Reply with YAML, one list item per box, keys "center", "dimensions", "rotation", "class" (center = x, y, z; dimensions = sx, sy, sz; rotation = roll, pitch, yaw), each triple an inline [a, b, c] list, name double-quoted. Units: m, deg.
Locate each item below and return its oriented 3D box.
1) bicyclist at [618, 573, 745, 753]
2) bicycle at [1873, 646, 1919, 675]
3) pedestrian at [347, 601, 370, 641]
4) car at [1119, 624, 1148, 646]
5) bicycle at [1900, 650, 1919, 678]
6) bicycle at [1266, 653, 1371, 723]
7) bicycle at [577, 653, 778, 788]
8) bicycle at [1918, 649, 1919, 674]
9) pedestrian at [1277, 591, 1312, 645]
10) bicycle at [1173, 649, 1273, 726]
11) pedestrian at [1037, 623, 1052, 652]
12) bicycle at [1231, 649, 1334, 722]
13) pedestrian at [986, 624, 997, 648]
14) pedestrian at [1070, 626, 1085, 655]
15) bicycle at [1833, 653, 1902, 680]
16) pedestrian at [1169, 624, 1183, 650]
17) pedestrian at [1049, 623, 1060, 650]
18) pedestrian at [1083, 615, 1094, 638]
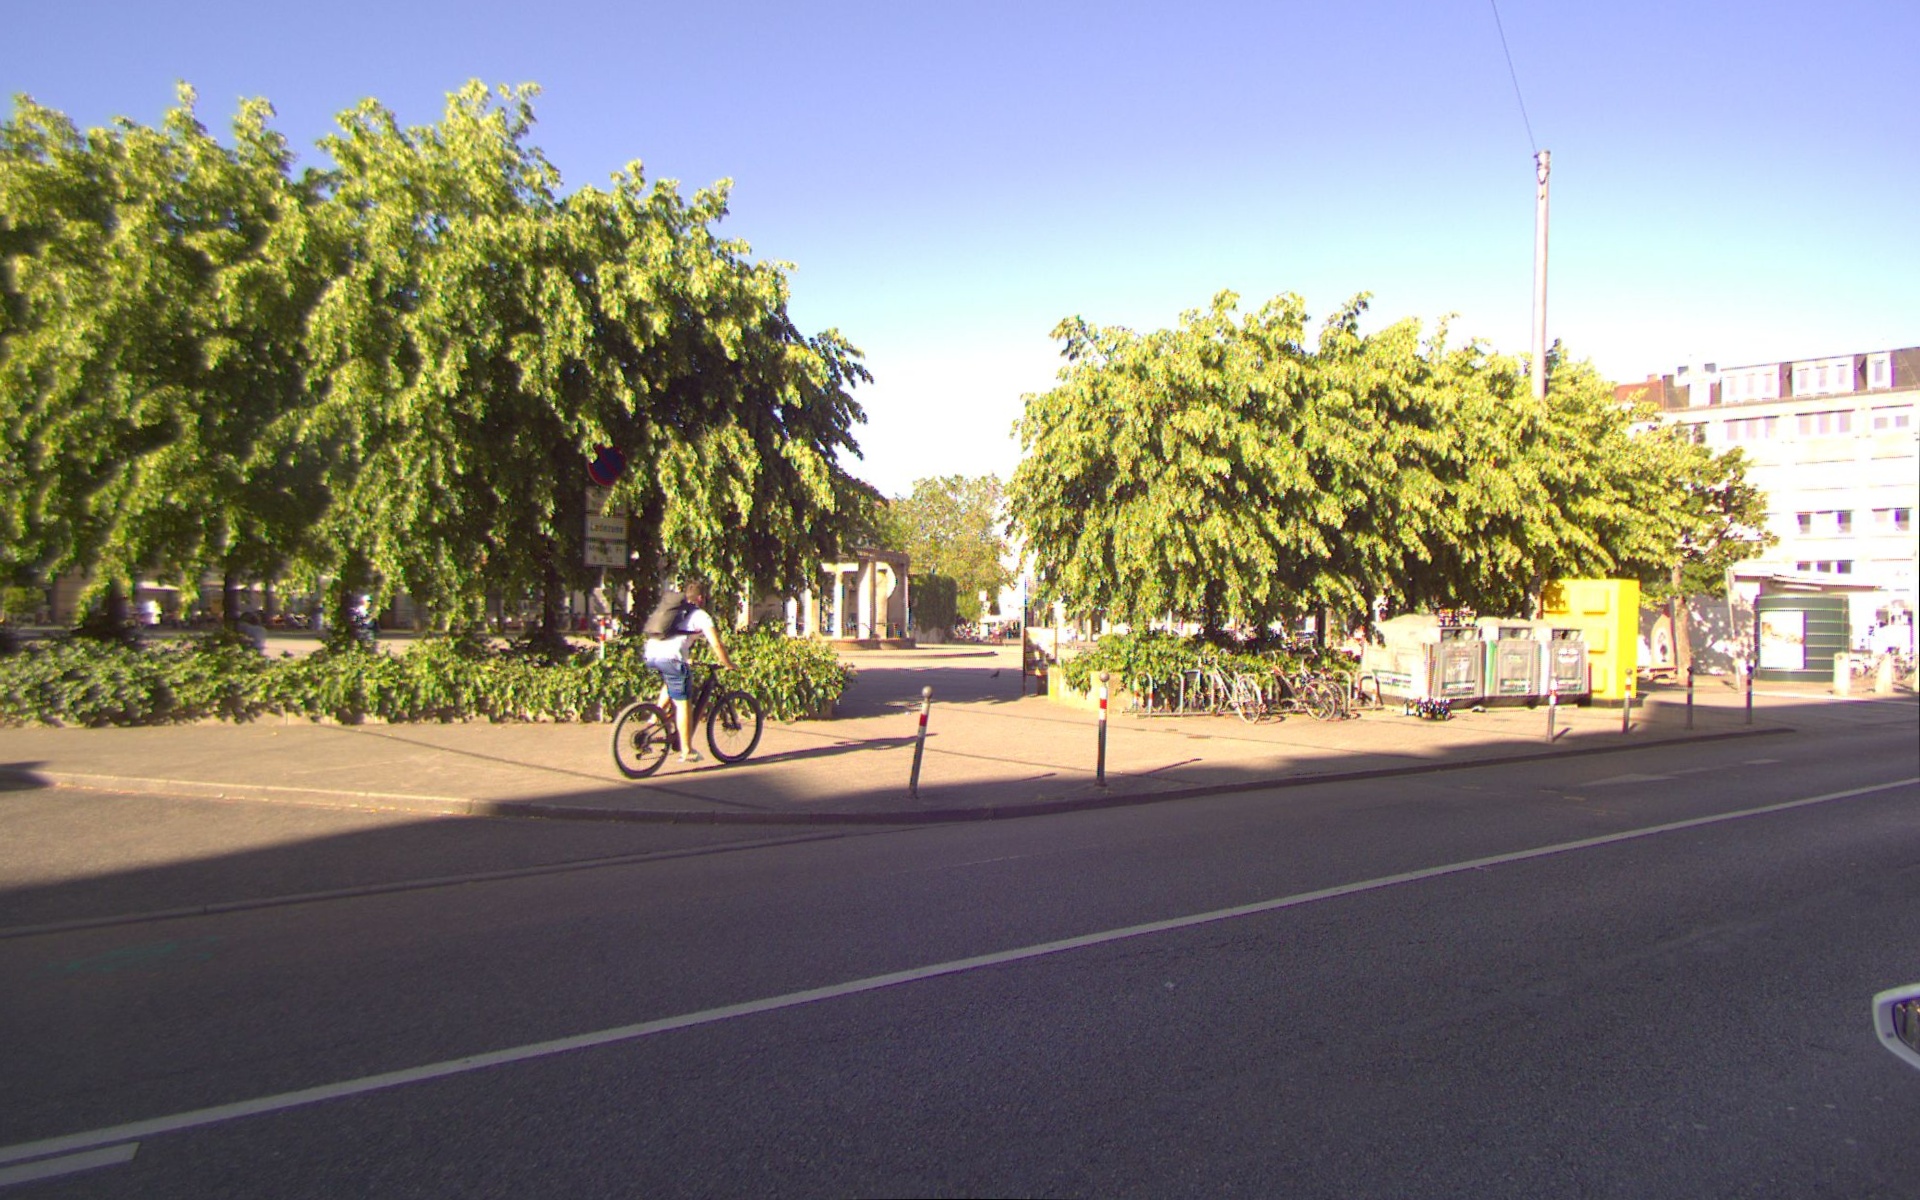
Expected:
- center: [-2.705, 0.583, 9.794]
  dimensions: [0.870, 1.656, 0.768]
  rotation: [1, 0, 28]
  class: "bicyclist"
- center: [33.130, 2.115, 35.021]
  dimensions: [0.599, 0.946, 1.855]
  rotation: [1, -1, -30]
  class: "bicycle"
- center: [-26.691, 0.914, 44.578]
  dimensions: [0.599, 1.744, 0.644]
  rotation: [2, 0, 37]
  class: "pedestrian"
- center: [12.145, 2.440, 70.578]
  dimensions: [1.658, 1.405, 3.575]
  rotation: [1, -1, 5]
  class: "car"
- center: [35.085, 2.335, 36.055]
  dimensions: [0.599, 0.946, 1.854]
  rotation: [2, 0, -30]
  class: "bicycle"
- center: [5.817, 1.404, 16.415]
  dimensions: [0.508, 0.968, 1.898]
  rotation: [2, 0, -20]
  class: "bicycle"
- center: [-2.694, 1.108, 9.838]
  dimensions: [0.629, 1.099, 2.058]
  rotation: [1, -1, 28]
  class: "bicycle"
- center: [37.091, 2.358, 37.478]
  dimensions: [0.599, 0.946, 1.854]
  rotation: [2, 0, -30]
  class: "bicycle"
- center: [12.743, 0.676, 38.283]
  dimensions: [0.875, 2.040, 0.896]
  rotation: [1, 0, -17]
  class: "pedestrian"
- center: [4.061, 1.329, 15.653]
  dimensions: [0.508, 1.029, 1.930]
  rotation: [2, 0, -19]
  class: "bicycle"
- center: [6.105, 2.729, 72.417]
  dimensions: [0.860, 2.040, 0.902]
  rotation: [2, 0, -5]
  class: "pedestrian"
- center: [5.197, 1.355, 16.305]
  dimensions: [0.508, 1.016, 1.923]
  rotation: [2, 0, -20]
  class: "bicycle"
- center: [2.774, 3.128, 88.344]
  dimensions: [0.860, 2.040, 0.902]
  rotation: [2, 0, -5]
  class: "pedestrian"
- center: [8.312, 2.852, 71.252]
  dimensions: [0.860, 2.040, 0.902]
  rotation: [2, 0, -5]
  class: "pedestrian"
- center: [30.811, 2.248, 34.126]
  dimensions: [0.600, 0.802, 1.634]
  rotation: [2, 0, -33]
  class: "bicycle"
- center: [14.212, 2.434, 66.153]
  dimensions: [0.741, 1.740, 0.854]
  rotation: [1, -1, 4]
  class: "pedestrian"
- center: [6.919, 2.659, 73.917]
  dimensions: [0.628, 1.974, 0.676]
  rotation: [2, 0, -7]
  class: "pedestrian"
- center: [12.750, 2.646, 99.446]
  dimensions: [0.860, 2.199, 0.902]
  rotation: [2, 0, -5]
  class: "pedestrian"
